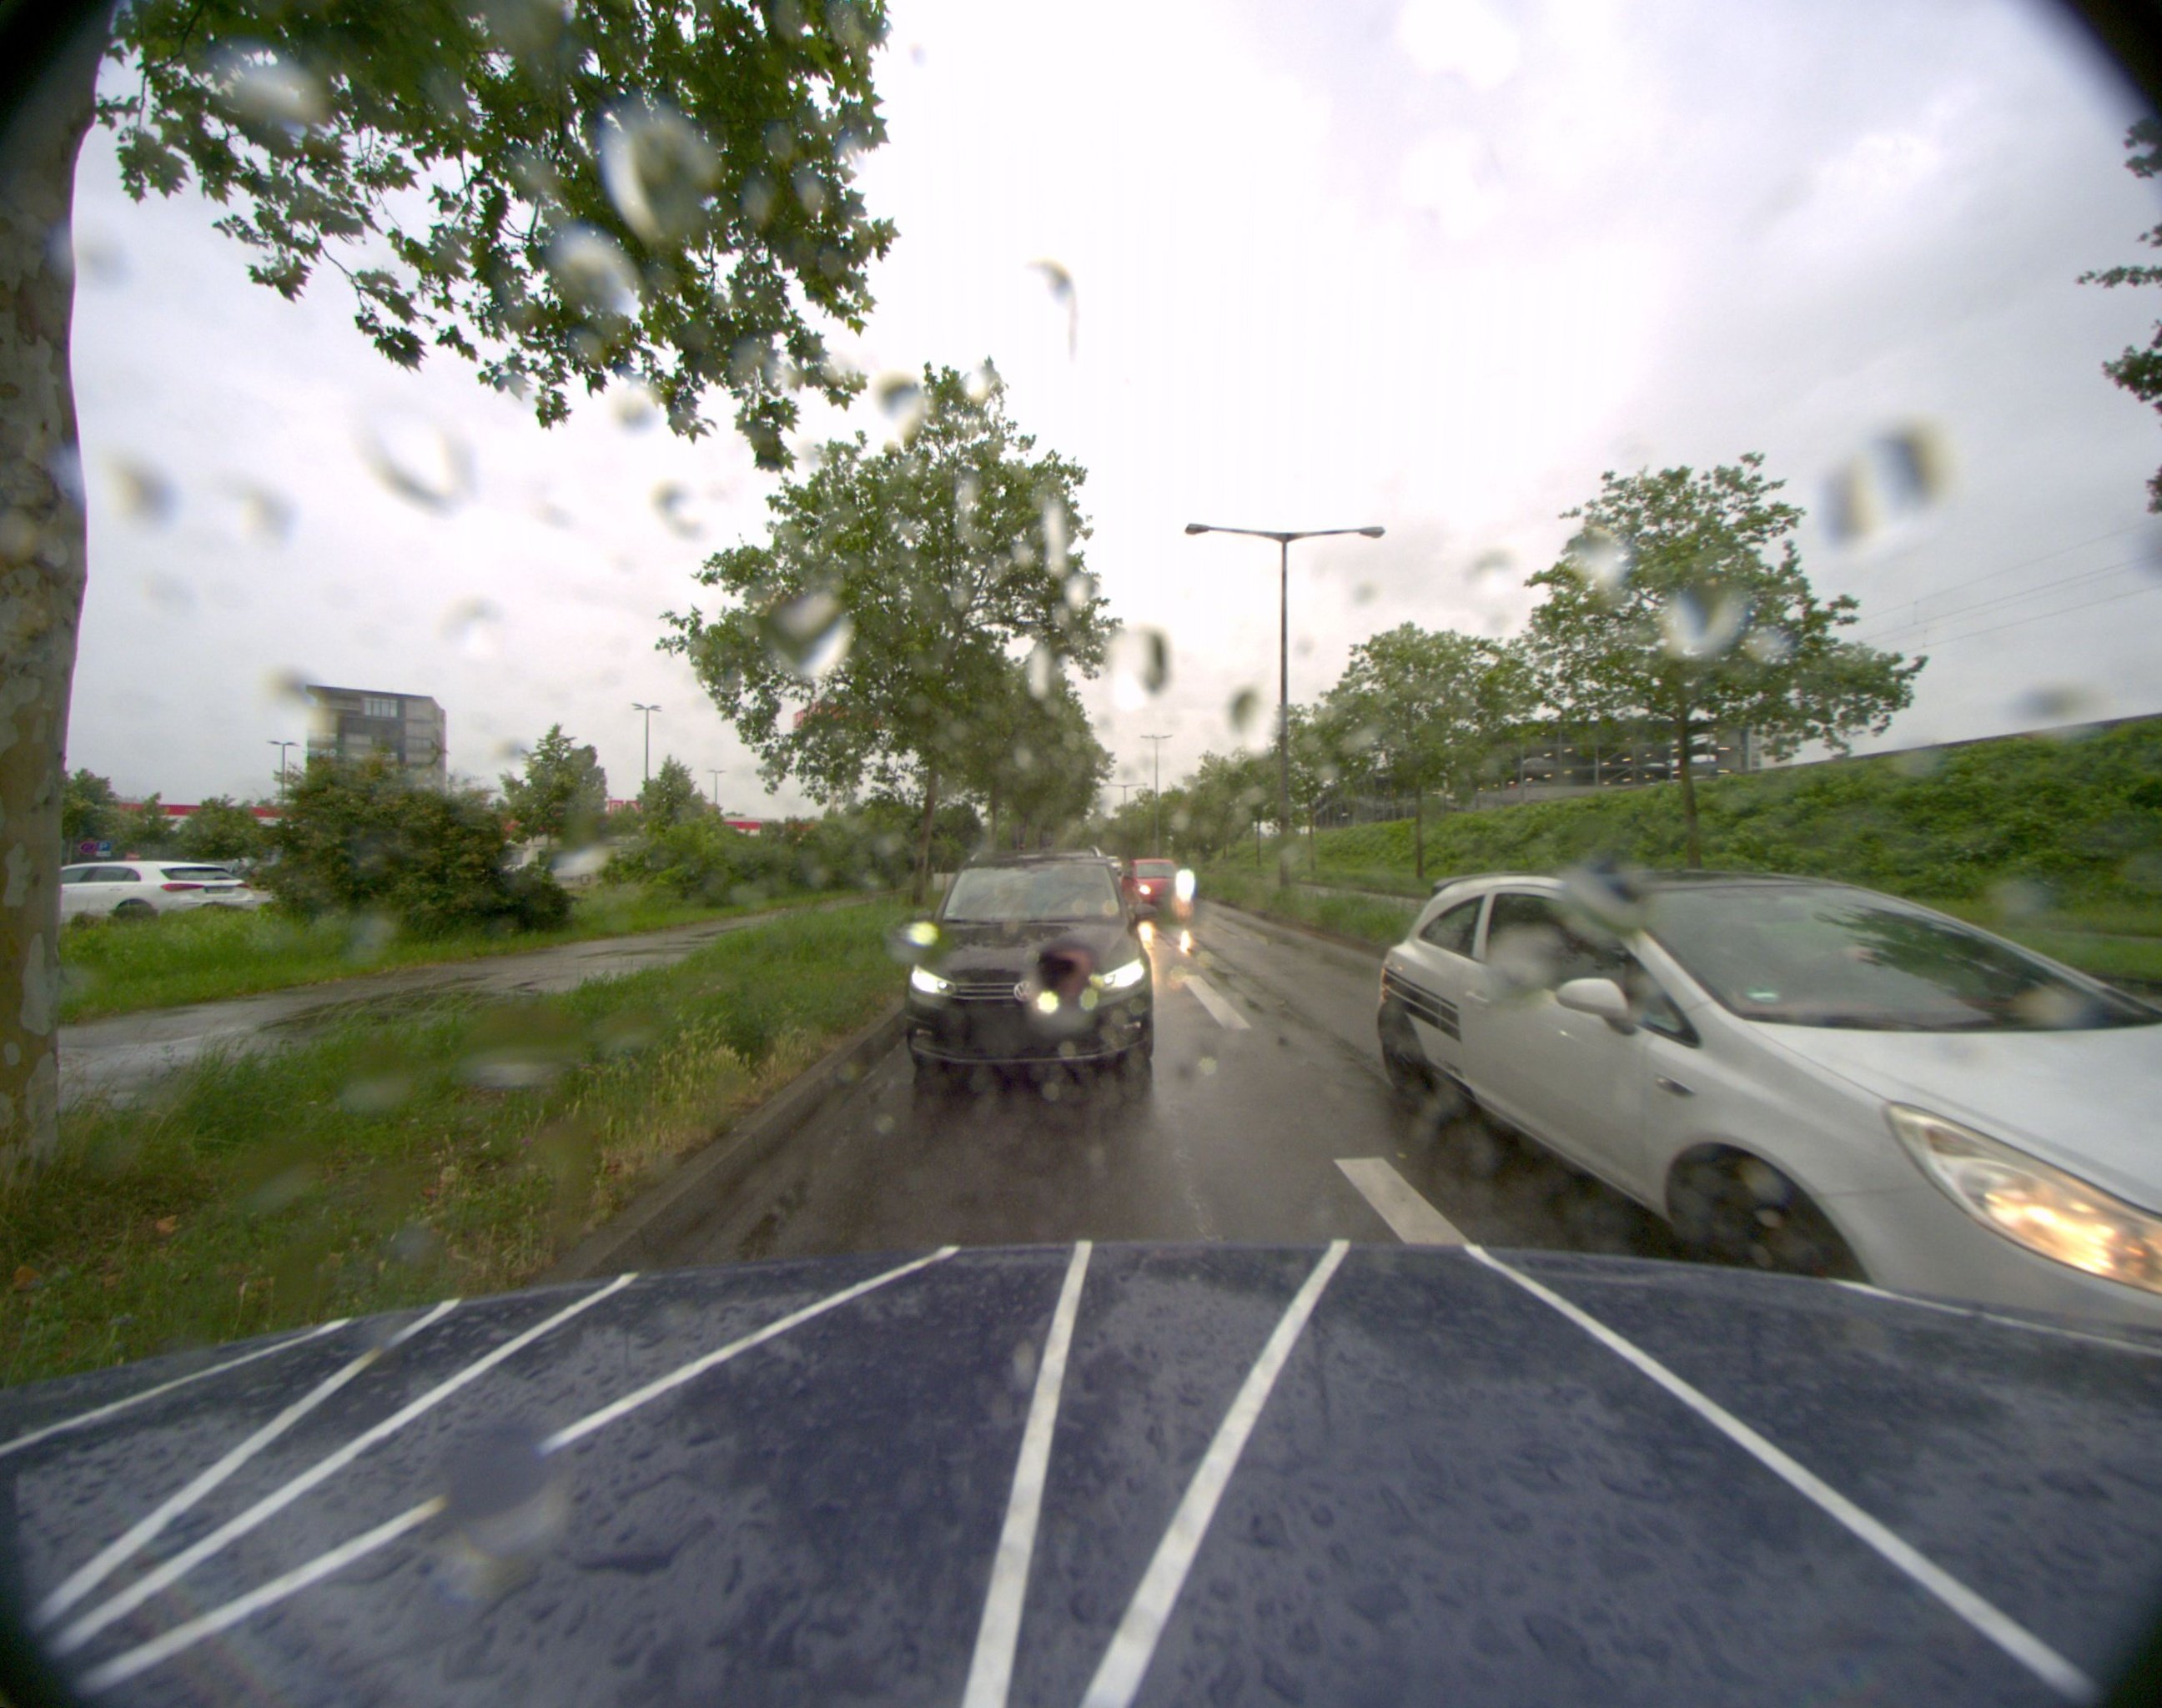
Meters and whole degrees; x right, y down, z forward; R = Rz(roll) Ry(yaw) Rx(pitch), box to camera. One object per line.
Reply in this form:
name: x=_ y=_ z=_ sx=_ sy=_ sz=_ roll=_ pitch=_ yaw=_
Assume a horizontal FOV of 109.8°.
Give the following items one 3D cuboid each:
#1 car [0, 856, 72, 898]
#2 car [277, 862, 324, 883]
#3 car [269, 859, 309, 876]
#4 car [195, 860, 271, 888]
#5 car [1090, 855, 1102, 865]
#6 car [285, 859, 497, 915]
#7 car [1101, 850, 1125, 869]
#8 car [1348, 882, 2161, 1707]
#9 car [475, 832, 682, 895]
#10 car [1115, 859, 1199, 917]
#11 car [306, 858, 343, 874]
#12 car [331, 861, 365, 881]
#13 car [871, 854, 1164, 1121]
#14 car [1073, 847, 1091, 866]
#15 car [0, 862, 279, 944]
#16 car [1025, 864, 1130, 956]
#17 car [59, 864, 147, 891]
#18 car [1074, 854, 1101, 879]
car: x=-47.368 y=1.043 z=32.898 sx=4.007 sy=1.718 sz=1.886 roll=-3 pitch=1 yaw=-38
car: x=-67.289 y=1.587 z=65.604 sx=2.006 sy=1.667 sz=4.262 roll=0 pitch=0 yaw=-34
car: x=-80.586 y=1.318 z=77.334 sx=2.006 sy=1.667 sz=4.262 roll=0 pitch=0 yaw=-35
car: x=-49.903 y=1.138 z=44.829 sx=1.933 sy=1.543 sz=4.262 roll=0 pitch=0 yaw=-33
car: x=2.483 y=0.926 z=124.051 sx=1.715 sy=1.494 sz=3.999 roll=-2 pitch=0 yaw=-2
car: x=-19.949 y=0.920 z=22.135 sx=4.272 sy=1.543 sz=1.929 roll=0 pitch=0 yaw=-4
car: x=2.825 y=0.504 z=67.798 sx=1.831 sy=1.602 sz=4.147 roll=-2 pitch=0 yaw=0
car: x=2.725 y=0.907 z=3.216 sx=1.683 sy=1.368 sz=4.010 roll=-2 pitch=0 yaw=-1
car: x=-19.669 y=0.356 z=30.084 sx=6.425 sy=2.349 sz=2.390 roll=0 pitch=1 yaw=-8
car: x=2.126 y=0.924 z=22.242 sx=1.724 sy=1.456 sz=4.091 roll=-2 pitch=0 yaw=-4
car: x=-78.475 y=1.219 z=78.865 sx=2.006 sy=1.667 sz=4.262 roll=0 pitch=0 yaw=-35
car: x=-68.018 y=1.558 z=70.556 sx=2.007 sy=1.667 sz=4.261 roll=0 pitch=0 yaw=-41
car: x=-0.439 y=0.834 z=7.074 sx=1.771 sy=1.596 sz=4.626 roll=-2 pitch=0 yaw=-1
car: x=0.113 y=0.230 z=87.756 sx=1.998 sy=2.002 sz=5.131 roll=-2 pitch=1 yaw=0
car: x=-19.796 y=0.962 z=15.665 sx=4.272 sy=1.543 sz=1.929 roll=0 pitch=0 yaw=-4
car: x=-0.056 y=0.977 z=14.899 sx=1.724 sy=1.456 sz=4.092 roll=-2 pitch=0 yaw=0
car: x=-61.886 y=1.426 z=48.182 sx=1.933 sy=1.543 sz=4.263 roll=0 pitch=0 yaw=-30
car: x=0.444 y=0.890 z=55.465 sx=1.831 sy=1.737 sz=4.147 roll=-2 pitch=0 yaw=0
